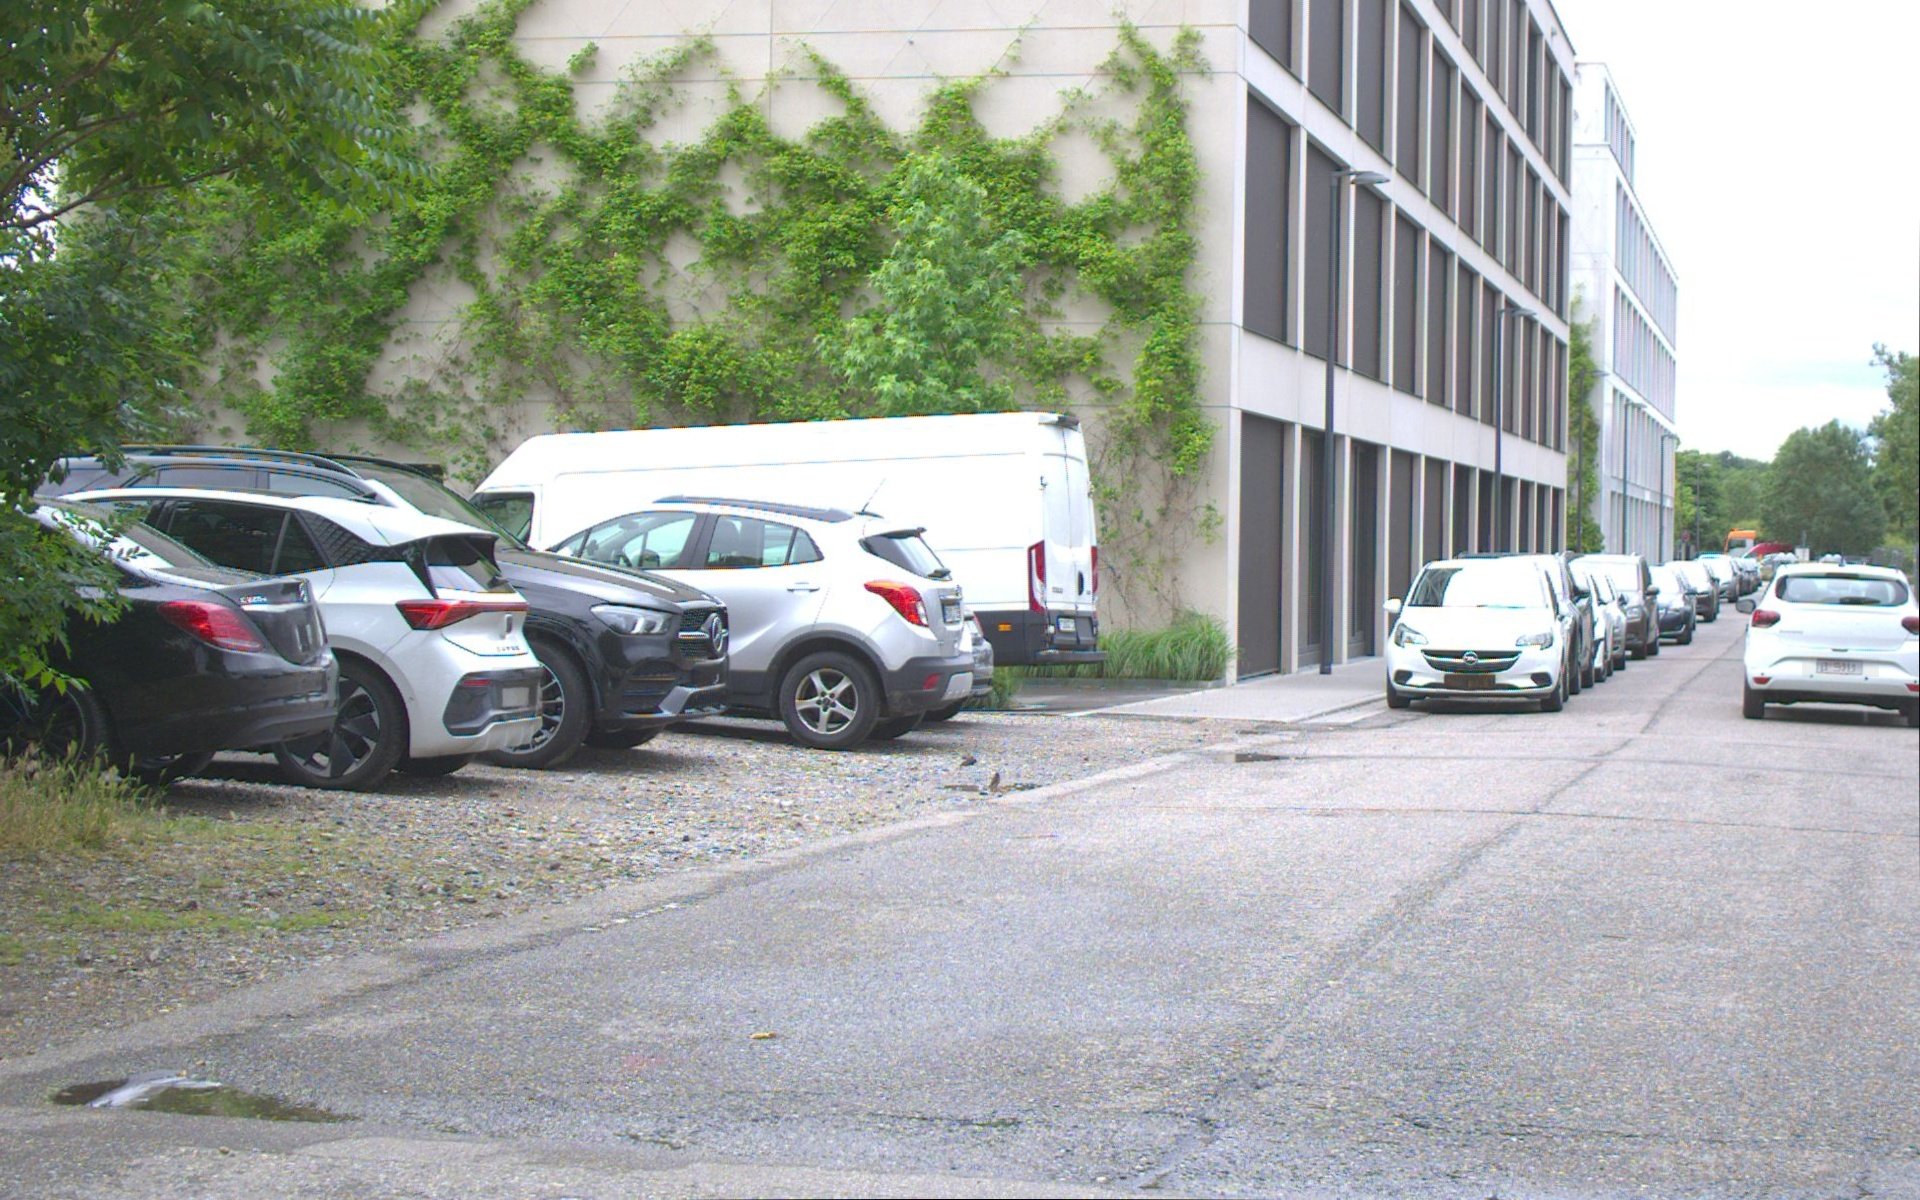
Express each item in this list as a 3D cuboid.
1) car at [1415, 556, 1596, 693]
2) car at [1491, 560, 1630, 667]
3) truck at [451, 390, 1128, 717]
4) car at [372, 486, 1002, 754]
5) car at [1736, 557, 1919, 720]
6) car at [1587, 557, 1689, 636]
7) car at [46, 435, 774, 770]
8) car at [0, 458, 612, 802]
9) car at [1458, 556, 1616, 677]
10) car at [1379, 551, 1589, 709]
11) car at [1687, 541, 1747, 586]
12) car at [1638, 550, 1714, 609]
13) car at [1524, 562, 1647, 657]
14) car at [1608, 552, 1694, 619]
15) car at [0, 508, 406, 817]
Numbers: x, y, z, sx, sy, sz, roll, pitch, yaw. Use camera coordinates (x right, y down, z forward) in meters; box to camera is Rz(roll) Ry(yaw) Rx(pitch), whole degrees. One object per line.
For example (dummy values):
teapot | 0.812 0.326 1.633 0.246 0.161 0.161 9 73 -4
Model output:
car | 6.356 0.244 39.785 1.886 1.448 3.998 1 1 11
car | 8.830 0.160 50.343 1.886 1.448 3.998 1 1 11
truck | -1.575 -0.473 31.874 5.843 2.718 2.053 3 1 18
car | -1.876 0.110 24.187 3.989 1.639 1.890 3 1 12
car | 8.613 0.330 33.782 1.886 1.448 3.998 1 1 13
car | 13.277 -0.100 67.288 1.886 1.448 3.998 1 1 11
car | -3.341 -0.025 21.178 3.989 1.872 1.890 2 1 13
car | -4.127 0.106 18.723 3.989 1.639 1.890 3 1 12
car | 7.570 0.179 44.872 1.886 1.448 3.998 1 1 11
car | 5.333 0.256 34.664 1.886 1.448 3.998 1 1 11
car | 25.485 -1.234 115.824 1.886 1.448 3.998 1 1 11
car | 18.760 -0.551 90.091 1.886 1.448 3.998 1 1 11
car | 10.287 0.127 56.383 1.886 1.448 3.998 1 1 11
car | 15.985 -0.358 79.477 1.886 1.448 3.998 1 1 11
car | -4.892 0.268 16.437 3.989 1.345 1.890 1 -1 12
